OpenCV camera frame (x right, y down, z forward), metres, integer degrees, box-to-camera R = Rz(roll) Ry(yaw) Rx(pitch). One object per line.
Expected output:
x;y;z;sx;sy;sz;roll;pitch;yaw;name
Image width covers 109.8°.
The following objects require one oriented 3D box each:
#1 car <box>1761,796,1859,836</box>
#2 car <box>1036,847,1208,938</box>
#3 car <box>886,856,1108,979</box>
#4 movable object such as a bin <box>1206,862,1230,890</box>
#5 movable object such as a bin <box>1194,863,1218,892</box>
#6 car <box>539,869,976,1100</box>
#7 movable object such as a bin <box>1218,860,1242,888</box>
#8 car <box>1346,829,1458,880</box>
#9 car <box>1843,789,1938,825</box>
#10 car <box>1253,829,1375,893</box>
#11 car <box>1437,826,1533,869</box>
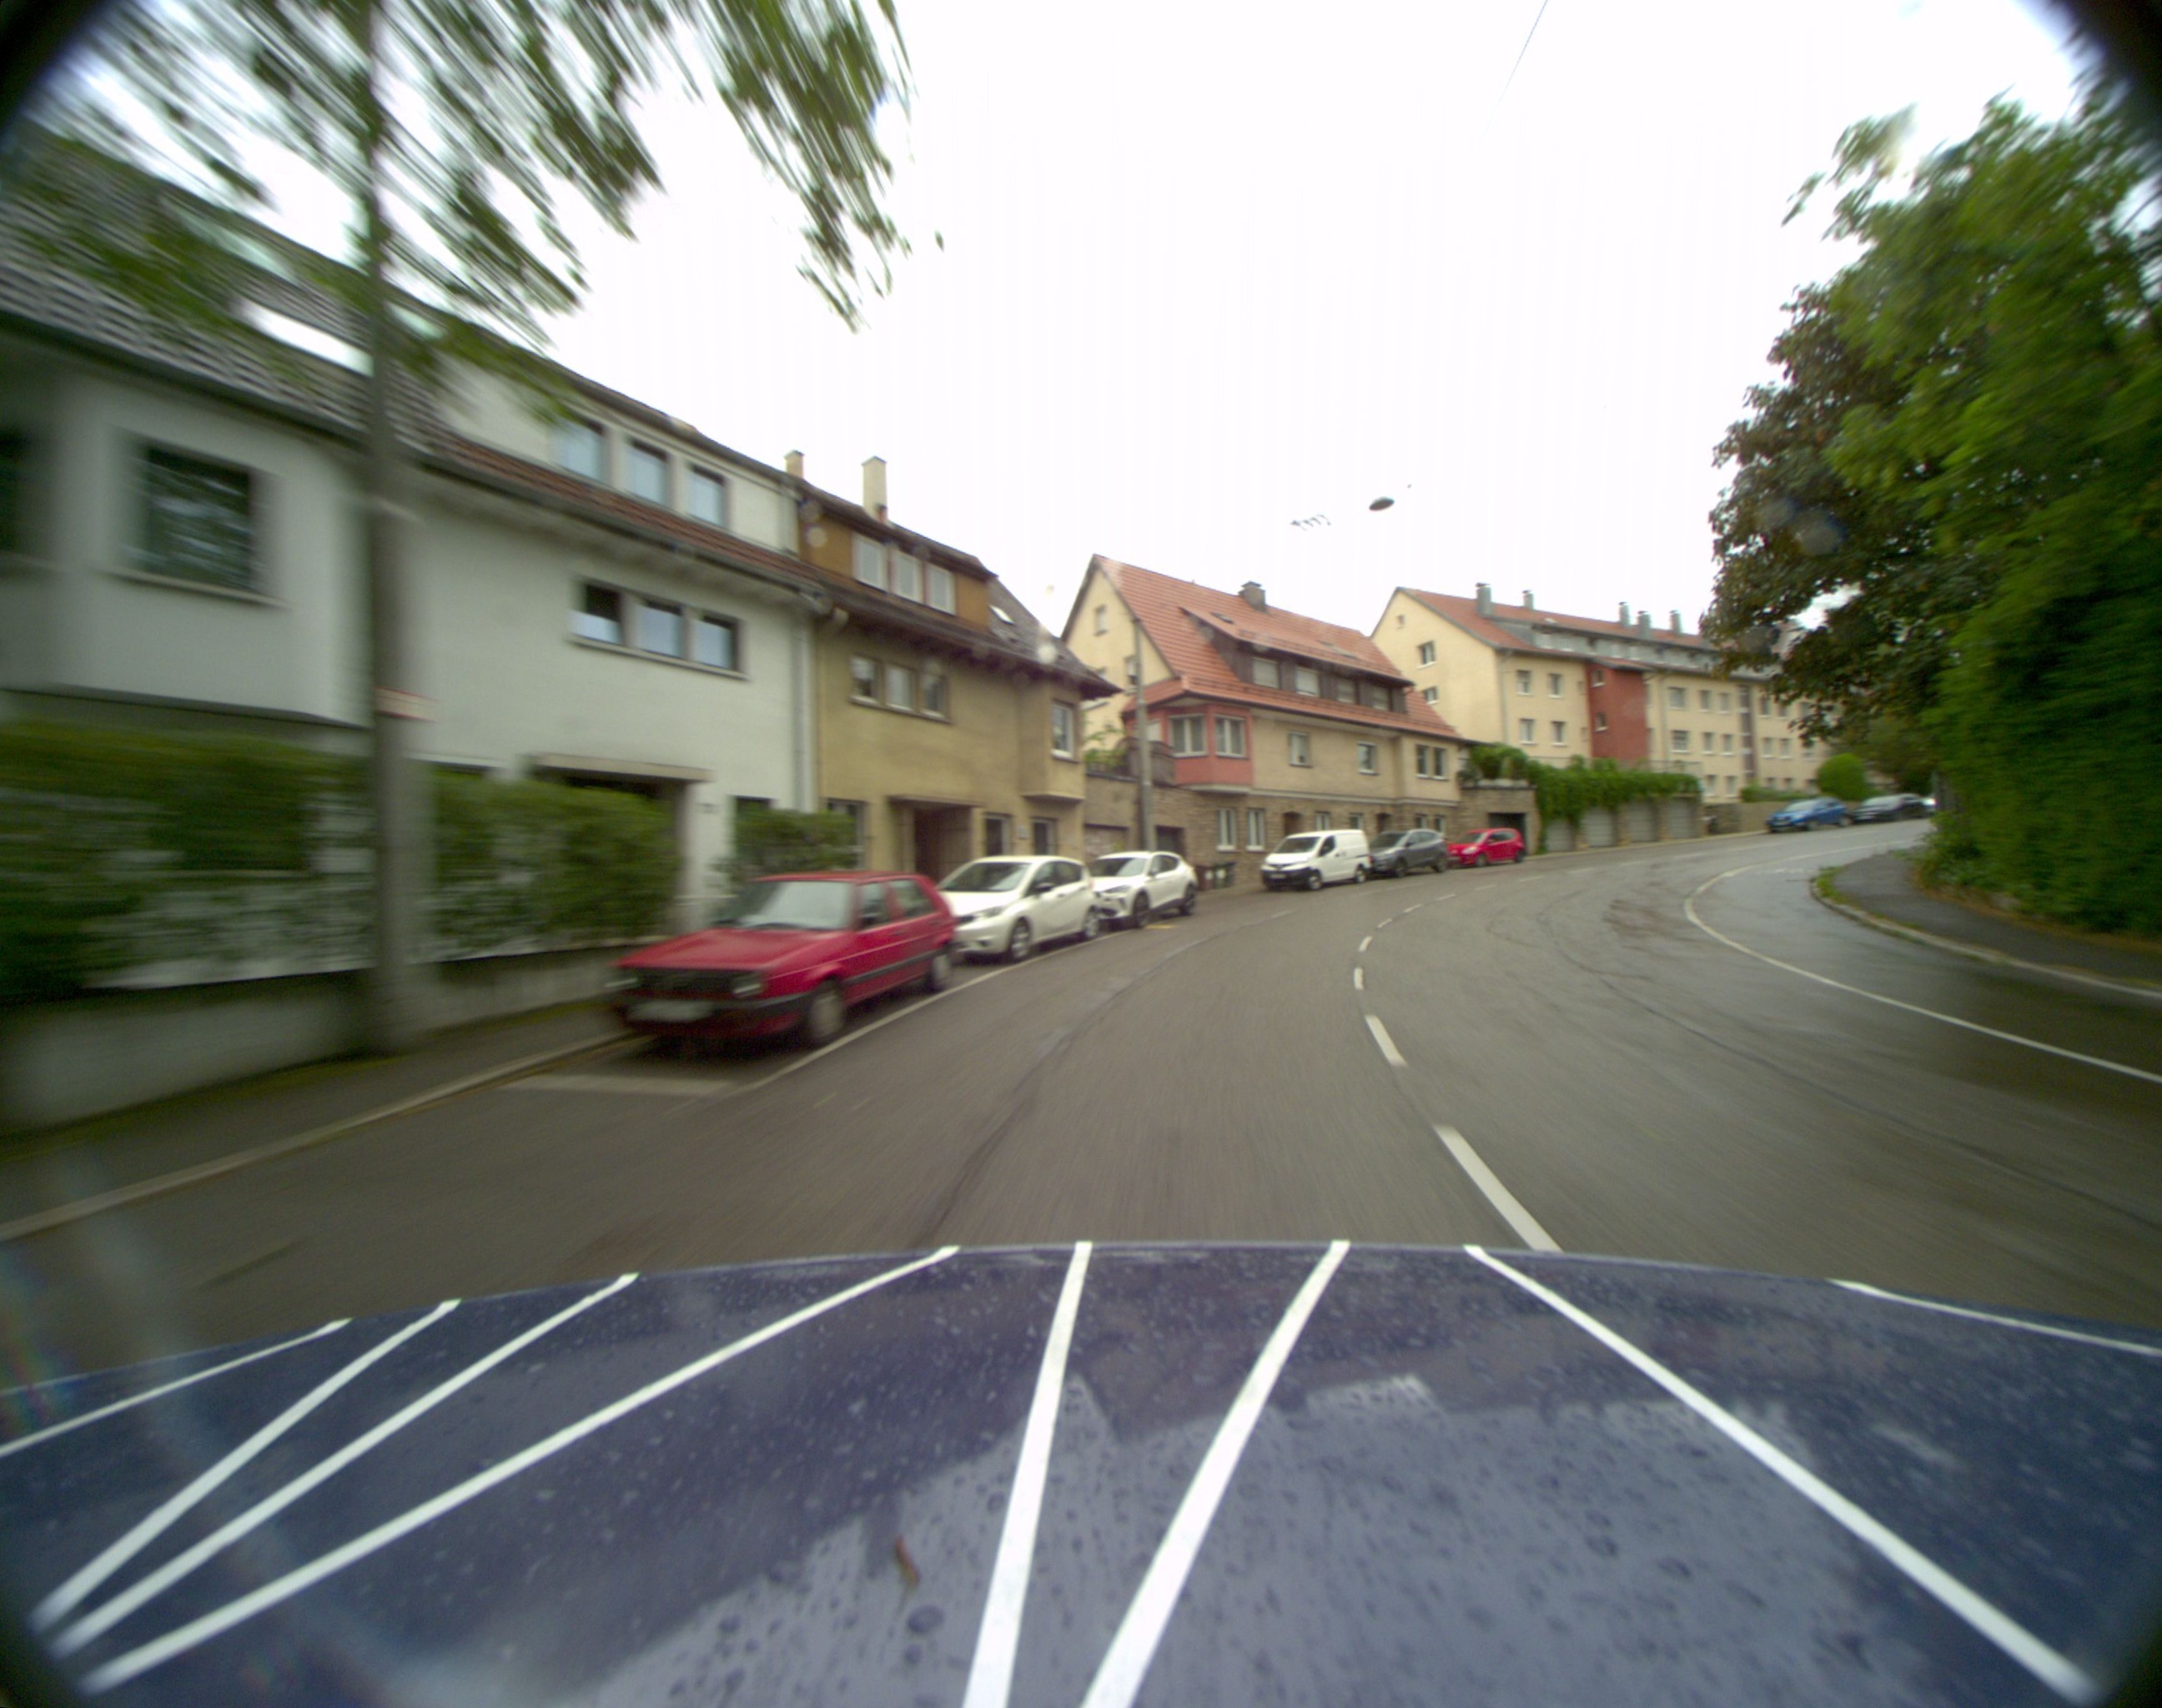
36.395;-1.899;37.950;4.257;1.584;1.737;-5;-1;-20;car
1.058;0.726;16.491;1.915;1.530;4.421;-1;2;29;car
-1.137;0.873;12.118;1.766;1.506;3.829;-2;1;24;car
4.630;0.738;25.631;0.513;0.917;0.580;-4;3;-35;movable object such as a bin
4.162;0.773;25.312;0.513;0.917;0.580;-4;3;-35;movable object such as a bin
-2.620;0.970;7.440;1.783;1.359;4.198;-2;2;12;car
5.093;0.667;25.969;0.513;0.917;0.580;-4;3;-35;movable object such as a bin
11.786;-0.001;27.799;4.418;1.595;1.616;-4;1;-35;car
42.447;-2.453;39.855;4.256;1.446;1.693;-5;-1;-18;car
7.702;0.187;24.905;4.333;1.780;1.706;-4;0;-41;car
16.348;-0.253;30.739;3.585;1.427;1.617;-5;1;-27;car
